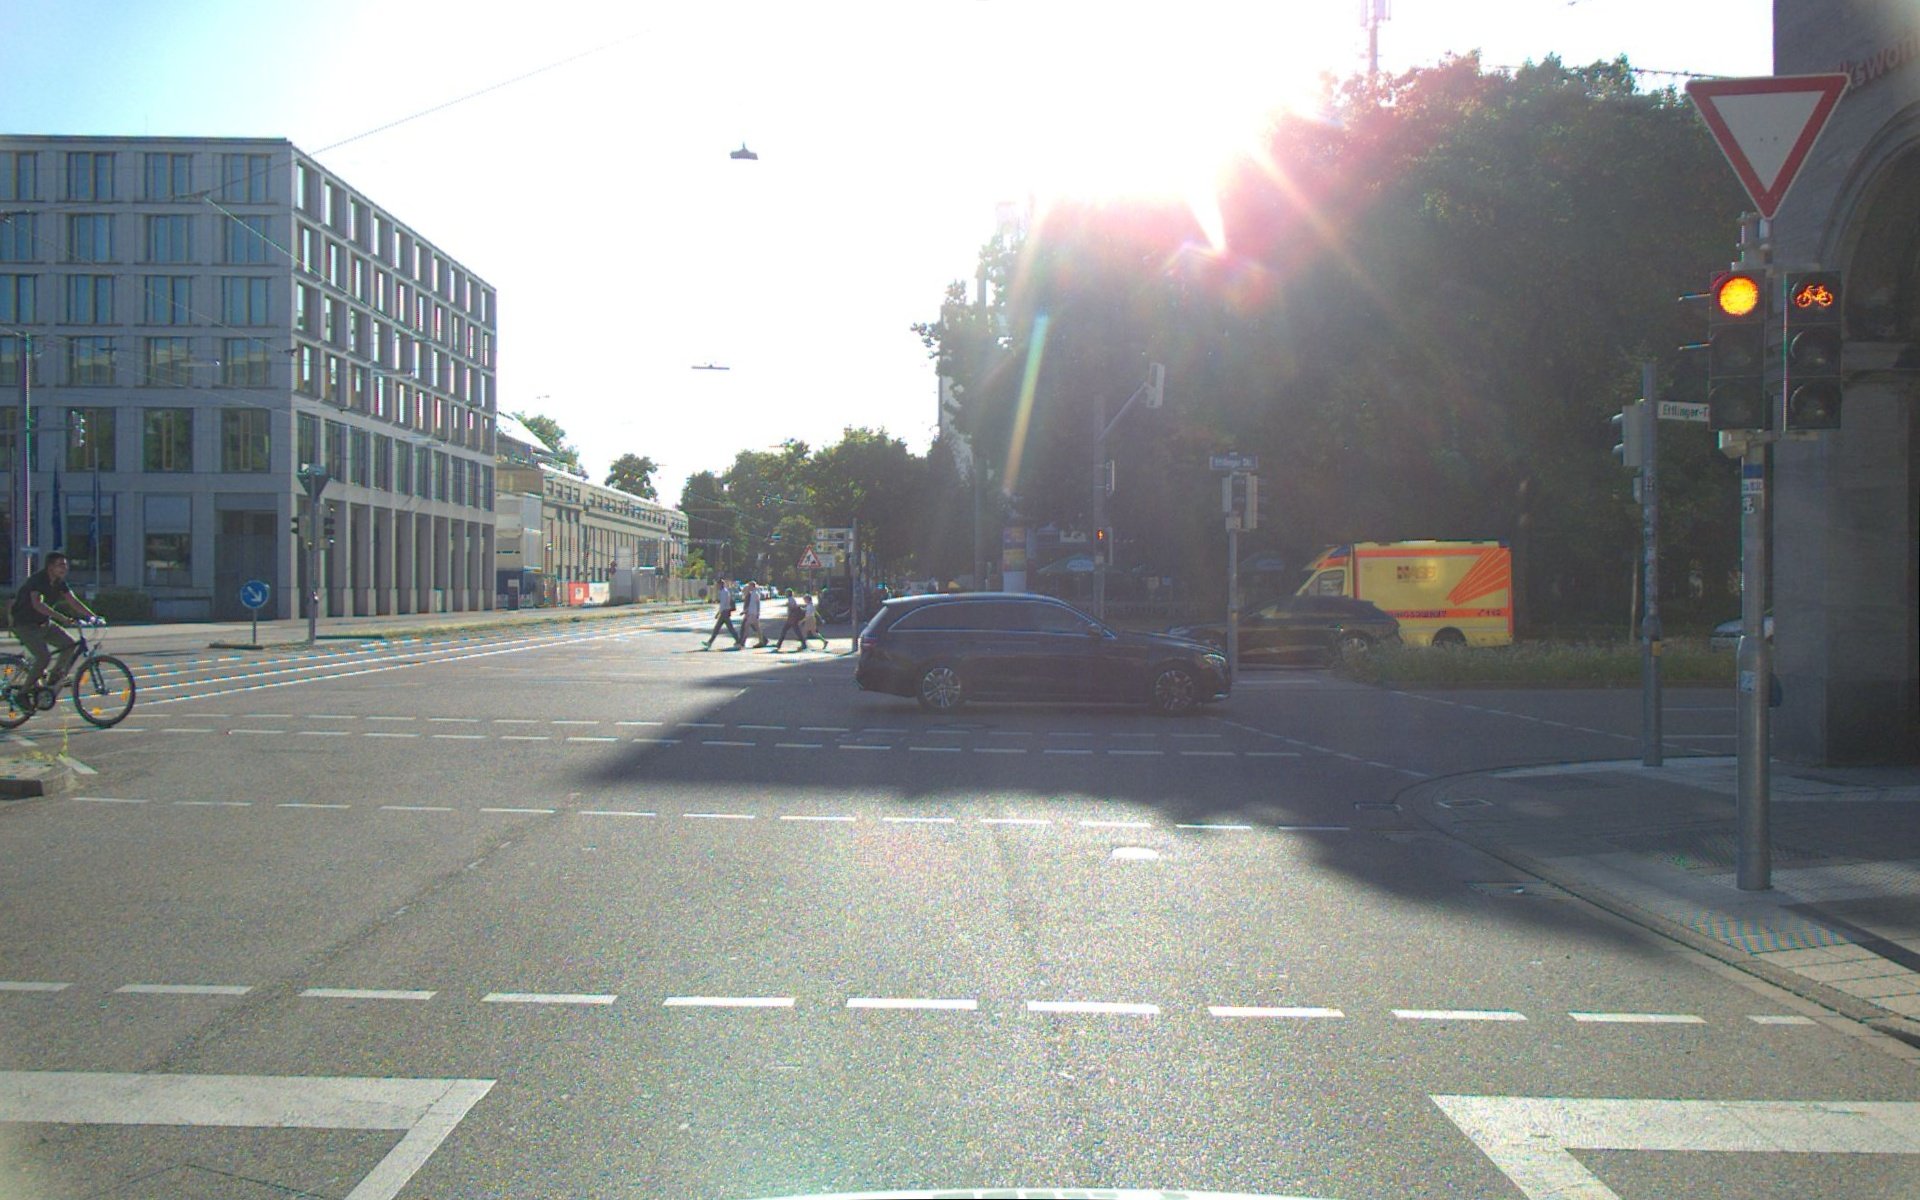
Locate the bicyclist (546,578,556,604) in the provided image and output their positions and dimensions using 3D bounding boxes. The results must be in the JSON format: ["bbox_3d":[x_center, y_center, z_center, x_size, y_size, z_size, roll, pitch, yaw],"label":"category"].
[{"bbox_3d":[-32.202,-0.708,130.243,0.559,2.059,0.761,0,0,-2],"label":"bicyclist"}]

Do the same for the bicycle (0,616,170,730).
[{"bbox_3d":[-9.209,0.741,17.025,1.775,1.104,0.767,0,2,3],"label":"bicycle"}]

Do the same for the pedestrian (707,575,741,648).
[{"bbox_3d":[-6.328,0.300,44.359,0.785,1.951,0.637,0,0,4],"label":"pedestrian"}]

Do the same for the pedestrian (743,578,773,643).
[{"bbox_3d":[-5.668,0.294,46.450,0.723,1.835,0.532,0,0,4],"label":"pedestrian"}]

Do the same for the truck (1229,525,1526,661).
[{"bbox_3d":[9.617,-0.160,38.656,6.333,3.068,2.726,0,0,2],"label":"truck"}]

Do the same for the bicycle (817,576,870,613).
[{"bbox_3d":[-5.708,-0.256,81.322,2.495,1.774,1.037,1,0,-1],"label":"bicycle"}]

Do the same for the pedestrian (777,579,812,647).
[{"bbox_3d":[-4.536,0.355,45.369,0.852,1.835,0.664,0,0,4],"label":"pedestrian"}]

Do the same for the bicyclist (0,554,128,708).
[{"bbox_3d":[-9.264,0.301,17.015,0.981,1.538,0.767,0,2,3],"label":"bicyclist"}]

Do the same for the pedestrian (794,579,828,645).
[{"bbox_3d":[-4.129,0.335,45.925,0.851,1.835,0.532,0,0,4],"label":"pedestrian"}]

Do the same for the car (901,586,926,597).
[{"bbox_3d":[-5.946,-1.119,210.998,3.155,1.285,1.371,1,0,-6],"label":"car"}]

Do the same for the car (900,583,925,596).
[{"bbox_3d":[-6.116,-1.298,213.359,3.152,1.616,1.445,1,0,-5],"label":"car"}]

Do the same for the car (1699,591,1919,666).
[{"bbox_3d":[17.296,0.574,33.467,3.961,1.459,1.631,0,-1,-2],"label":"car"}]

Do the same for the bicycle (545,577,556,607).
[{"bbox_3d":[-32.190,-0.622,130.147,0.559,2.336,1.422,0,0,-2],"label":"bicycle"}]

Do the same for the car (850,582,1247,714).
[{"bbox_3d":[1.092,0.580,21.362,4.839,1.537,2.211,1,1,0],"label":"car"}]

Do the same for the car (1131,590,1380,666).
[{"bbox_3d":[5.855,0.578,33.151,4.639,1.440,1.999,1,-2,-1],"label":"car"}]

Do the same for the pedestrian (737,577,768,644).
[{"bbox_3d":[-5.737,0.284,45.779,0.723,1.835,0.716,0,0,4],"label":"pedestrian"}]

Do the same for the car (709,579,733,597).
[{"bbox_3d":[-22.544,-1.149,156.180,1.856,1.635,4.498,0,0,-3],"label":"car"}]
